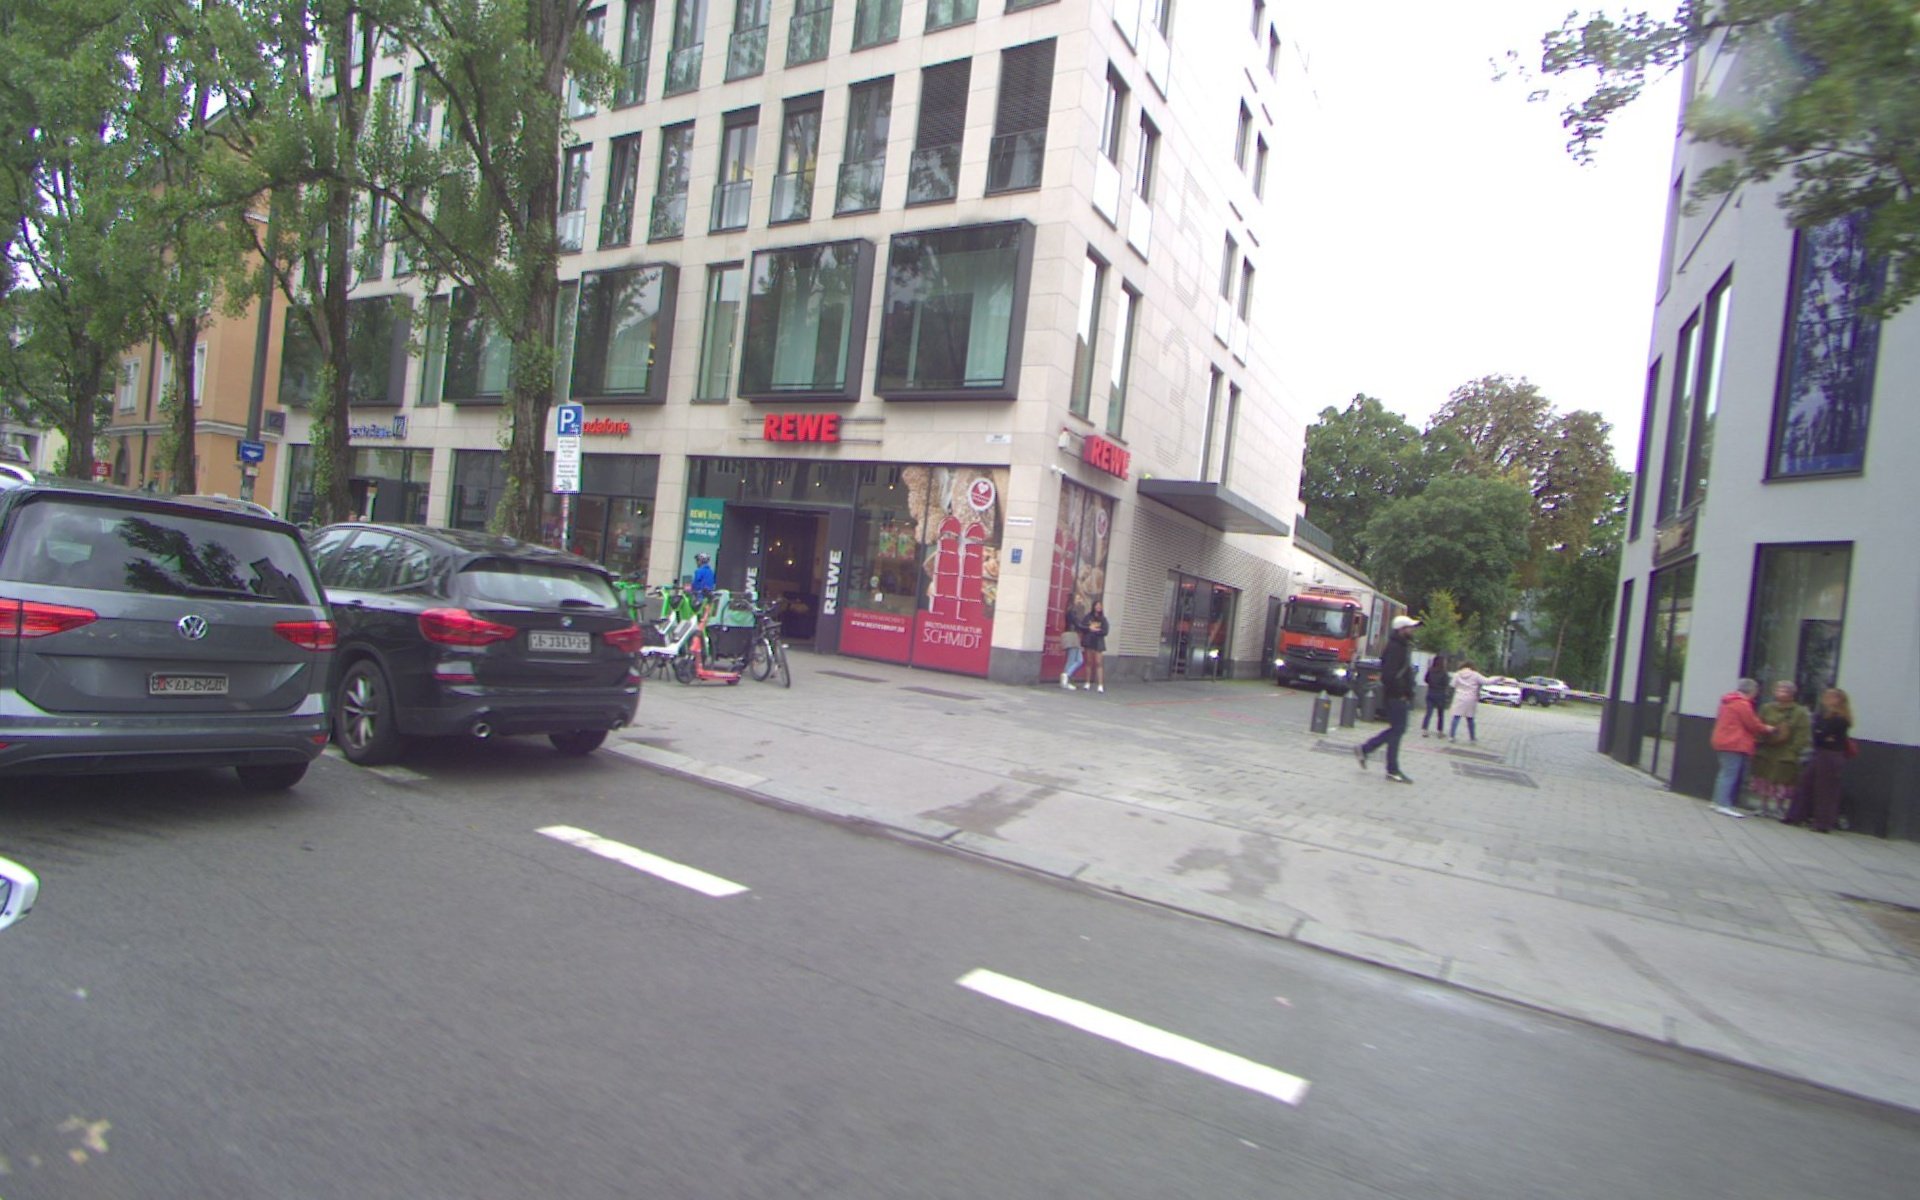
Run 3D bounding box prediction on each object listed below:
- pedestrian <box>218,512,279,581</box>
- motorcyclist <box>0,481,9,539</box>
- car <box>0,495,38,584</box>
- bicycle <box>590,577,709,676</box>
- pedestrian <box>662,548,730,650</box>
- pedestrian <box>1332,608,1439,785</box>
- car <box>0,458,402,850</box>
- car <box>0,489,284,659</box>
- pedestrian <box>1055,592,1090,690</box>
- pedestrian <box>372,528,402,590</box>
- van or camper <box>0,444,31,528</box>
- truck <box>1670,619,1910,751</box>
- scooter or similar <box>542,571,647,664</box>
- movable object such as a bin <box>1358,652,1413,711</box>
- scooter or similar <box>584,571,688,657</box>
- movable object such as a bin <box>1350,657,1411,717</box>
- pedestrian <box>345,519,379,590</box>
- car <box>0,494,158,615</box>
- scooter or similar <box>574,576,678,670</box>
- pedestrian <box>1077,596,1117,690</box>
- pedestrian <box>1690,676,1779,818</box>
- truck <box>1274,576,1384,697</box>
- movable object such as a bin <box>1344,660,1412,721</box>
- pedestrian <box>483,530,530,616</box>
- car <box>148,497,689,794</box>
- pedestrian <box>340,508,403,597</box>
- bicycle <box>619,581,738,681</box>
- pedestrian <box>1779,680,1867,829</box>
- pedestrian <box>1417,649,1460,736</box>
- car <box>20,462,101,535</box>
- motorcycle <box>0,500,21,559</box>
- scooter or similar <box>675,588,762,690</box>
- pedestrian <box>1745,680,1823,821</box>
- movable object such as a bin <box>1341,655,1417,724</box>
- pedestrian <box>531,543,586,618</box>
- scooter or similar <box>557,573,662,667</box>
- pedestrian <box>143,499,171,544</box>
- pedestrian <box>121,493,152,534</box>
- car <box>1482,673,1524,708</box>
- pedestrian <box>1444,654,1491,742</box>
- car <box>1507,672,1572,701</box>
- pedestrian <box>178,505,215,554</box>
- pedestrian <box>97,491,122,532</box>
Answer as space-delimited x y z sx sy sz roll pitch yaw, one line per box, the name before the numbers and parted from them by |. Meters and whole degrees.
pedestrian | -17.728 -1.327 25.067 0.922 1.597 0.835 7 2 31
motorcyclist | -24.386 -2.297 25.235 0.754 1.425 0.564 7 2 35
car | -18.208 -1.265 17.808 4.356 1.446 1.847 7 0 36
bicycle | -4.178 0.378 13.644 0.527 1.223 1.480 7 1 30
pedestrian | -4.523 -0.014 17.259 0.780 1.640 0.611 7 2 27
pedestrian | 5.085 1.125 12.021 0.910 1.949 0.647 7 2 30
car | -5.374 0.088 5.862 4.113 1.633 1.764 7 0 31
car | -9.928 -0.382 11.679 4.730 1.520 1.810 7 1 35
pedestrian | 2.117 0.767 18.976 0.460 1.773 0.427 6 1 6
pedestrian | -14.567 -1.041 25.582 0.498 1.510 0.543 6 1 -27
van or camper | -39.269 -4.699 40.189 4.647 3.152 2.457 7 2 40
truck | 27.350 2.723 33.503 5.589 3.509 2.216 7 1 32
scooter or similar | -5.127 0.270 14.174 0.306 1.216 1.436 7 1 29
movable object such as a bin | 11.942 2.255 28.209 1.162 1.453 1.161 8 2 28
scooter or similar | -5.001 0.236 15.586 0.545 1.226 1.384 7 1 36
movable object such as a bin | 10.638 2.177 25.429 1.162 1.311 1.161 8 2 28
pedestrian | -14.752 -1.119 24.842 0.545 1.658 0.554 6 1 -27
car | -13.992 -0.802 14.830 4.726 1.468 1.932 7 1 33
scooter or similar | -4.572 0.335 13.850 0.306 1.216 1.436 7 1 29
pedestrian | 2.649 0.832 19.488 0.420 1.773 0.467 7 2 35
pedestrian | 9.586 1.805 12.463 0.498 1.644 0.549 6 0 -6
truck | 12.604 1.251 34.064 2.585 3.495 5.562 7 1 26
movable object such as a bin | 9.947 2.128 23.920 1.277 1.237 1.110 8 2 28
pedestrian | -10.119 -0.604 22.476 0.785 1.795 0.678 5 2 -23
car | -4.586 0.234 8.268 4.577 1.720 1.926 6 -1 35
pedestrian | -13.361 -1.067 22.831 0.924 1.893 0.817 7 2 35
bicycle | -3.714 0.425 13.364 0.527 1.223 1.480 7 1 30
pedestrian | 10.137 1.795 11.838 0.498 1.644 0.549 6 0 22
pedestrian | 9.399 1.823 19.758 0.493 1.644 0.505 6 0 43
car | -33.756 -3.799 37.856 1.891 2.358 4.771 5 1 -39
motorcycle | -24.388 -1.836 25.176 2.217 1.388 0.826 7 2 35
scooter or similar | -3.128 0.513 13.091 0.373 1.241 1.051 7 1 30
pedestrian | 10.230 1.850 12.502 0.540 1.644 0.506 6 0 31
movable object such as a bin | 9.520 2.007 22.851 1.369 1.335 1.110 8 2 28
pedestrian | -9.349 -0.456 23.416 0.706 1.642 0.793 7 2 35
scooter or similar | -4.844 0.299 14.000 0.306 1.216 1.436 7 1 29
pedestrian | -31.402 -3.066 39.341 0.727 1.647 0.795 5 2 -42
pedestrian | -35.788 -3.754 43.715 0.768 1.634 0.819 7 2 41
car | 28.437 4.709 52.647 1.704 1.529 3.992 7 0 30
pedestrian | 9.701 1.876 19.232 0.544 1.599 0.505 6 0 43
car | 42.470 6.303 73.829 3.933 1.529 1.730 7 1 31
pedestrian | -26.109 -2.400 34.400 0.701 1.571 0.606 6 2 11
pedestrian | -36.500 -3.787 43.174 0.631 1.634 0.671 7 2 41
